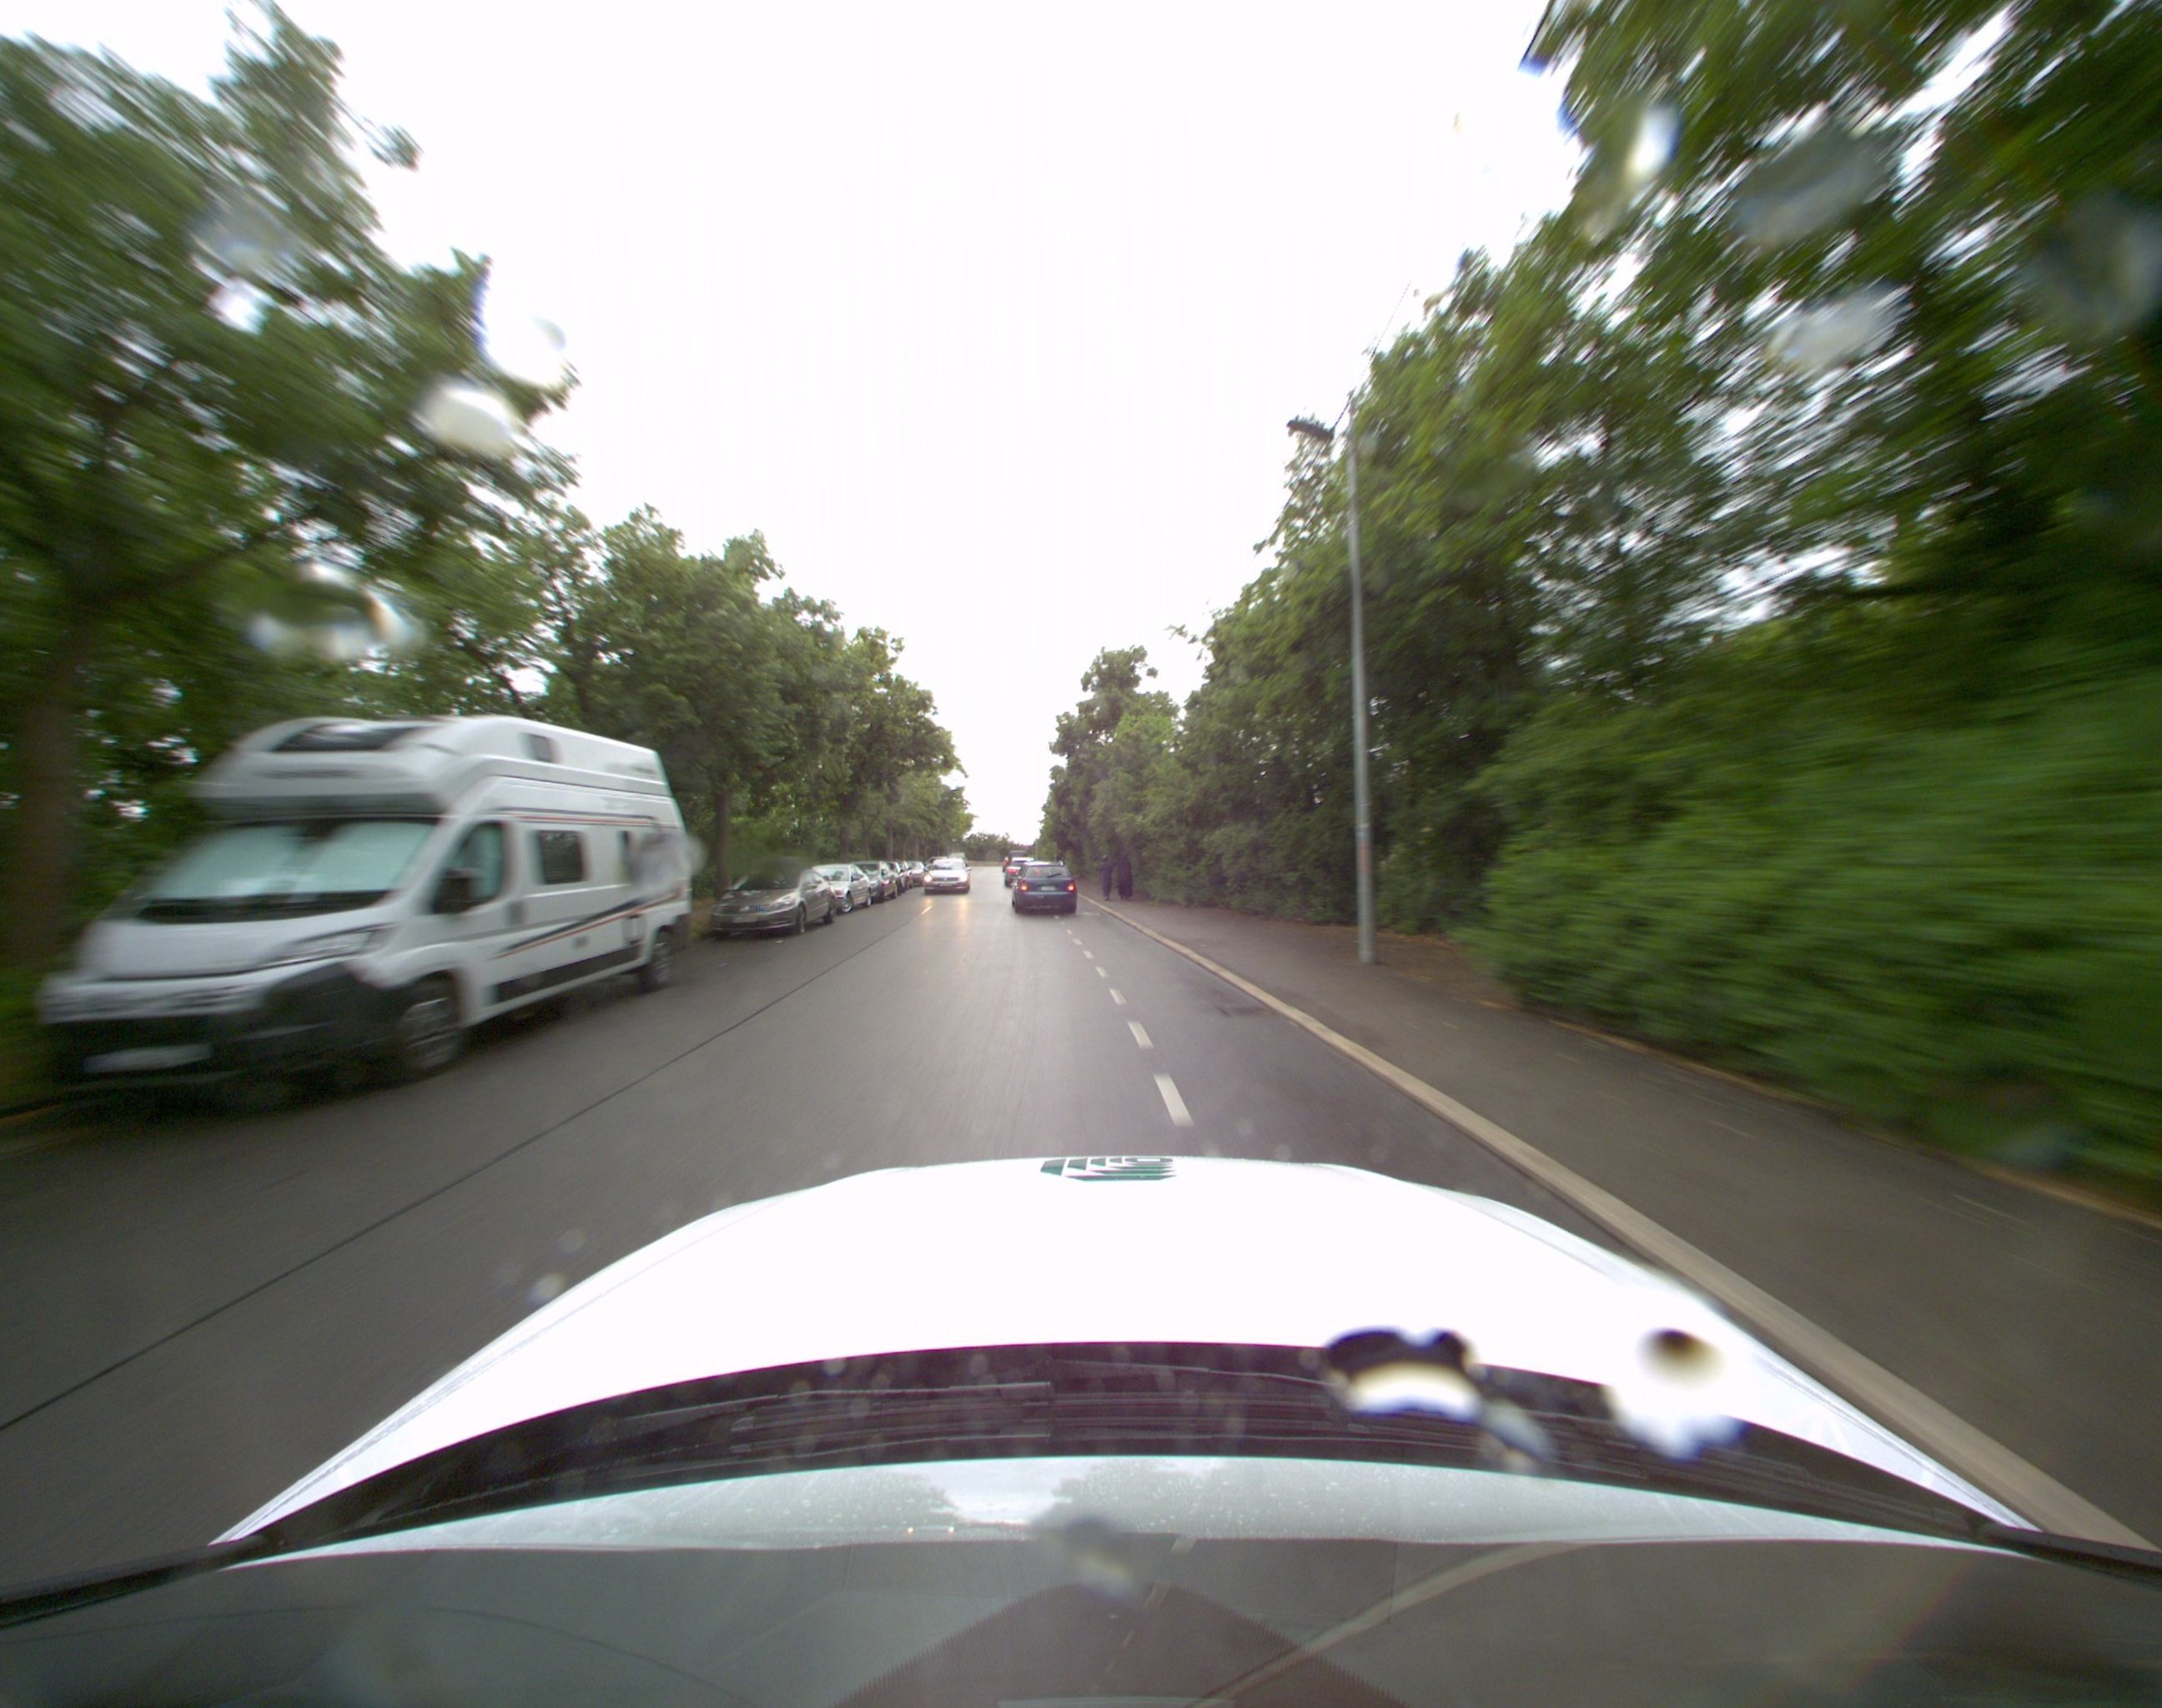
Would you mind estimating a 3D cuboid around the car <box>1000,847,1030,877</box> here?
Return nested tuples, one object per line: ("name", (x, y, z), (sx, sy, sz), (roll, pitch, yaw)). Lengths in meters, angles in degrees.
("car", (-4.995, 0.603, 61.250), (1.788, 1.953, 3.987), (-5, -2, -9))

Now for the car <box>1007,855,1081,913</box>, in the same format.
("car", (-1.170, 0.824, 23.984), (1.746, 1.407, 3.989), (2, 1, -9))

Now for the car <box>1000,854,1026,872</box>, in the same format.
("car", (-6.432, 0.862, 76.567), (1.825, 1.617, 3.766), (-2, 0, -15))

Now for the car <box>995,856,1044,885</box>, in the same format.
("car", (-3.212, 0.843, 41.727), (1.893, 1.389, 3.981), (-1, -1, -13))

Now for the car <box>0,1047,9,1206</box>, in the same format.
("car", (-6.104, 1.003, 1.723), (1.947, 1.408, 4.210), (-4, 0, 2))

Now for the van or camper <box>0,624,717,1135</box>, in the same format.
("van or camper", (-6.319, 0.175, 8.312), (2.502, 3.026, 6.549), (-5, 0, -5))

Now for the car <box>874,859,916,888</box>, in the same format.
("car", (-9.125, 0.932, 40.191), (1.594, 1.362, 3.990), (-1, 0, -8))

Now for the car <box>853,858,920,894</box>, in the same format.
("car", (-8.466, 0.918, 35.803), (1.989, 1.405, 4.708), (-2, 0, -3))

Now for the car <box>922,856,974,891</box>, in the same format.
("car", (-5.704, 0.815, 35.359), (1.880, 1.402, 4.247), (-1, 0, -5))

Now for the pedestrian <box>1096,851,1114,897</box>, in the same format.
("pedestrian", (0.810, 0.684, 28.026), (0.550, 1.566, 0.486), (-2, 0, -1))

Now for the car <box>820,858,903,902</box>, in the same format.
("car", (-7.975, 0.903, 30.048), (1.989, 1.405, 4.708), (-2, 0, -3))

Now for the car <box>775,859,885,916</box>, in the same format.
("car", (-7.611, 0.959, 25.189), (1.988, 1.405, 4.711), (-2, 1, -2))

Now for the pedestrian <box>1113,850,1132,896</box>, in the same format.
("pedestrian", (1.419, 0.651, 28.106), (0.593, 1.566, 0.669), (-1, 0, -1))

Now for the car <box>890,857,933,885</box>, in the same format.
("car", (-9.229, 0.904, 44.639), (1.752, 1.402, 4.410), (-1, 0, -5))

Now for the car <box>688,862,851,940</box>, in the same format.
("car", (-6.955, 0.962, 18.926), (1.990, 1.309, 5.348), (-3, 1, -4))

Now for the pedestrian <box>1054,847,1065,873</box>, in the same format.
("pedestrian", (-1.588, 0.454, 60.151), (0.715, 1.835, 1.020), (-3, 0, -4))

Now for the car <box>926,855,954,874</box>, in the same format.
("car", (-11.021, 0.824, 63.794), (1.685, 1.437, 4.250), (-1, 0, -3))
